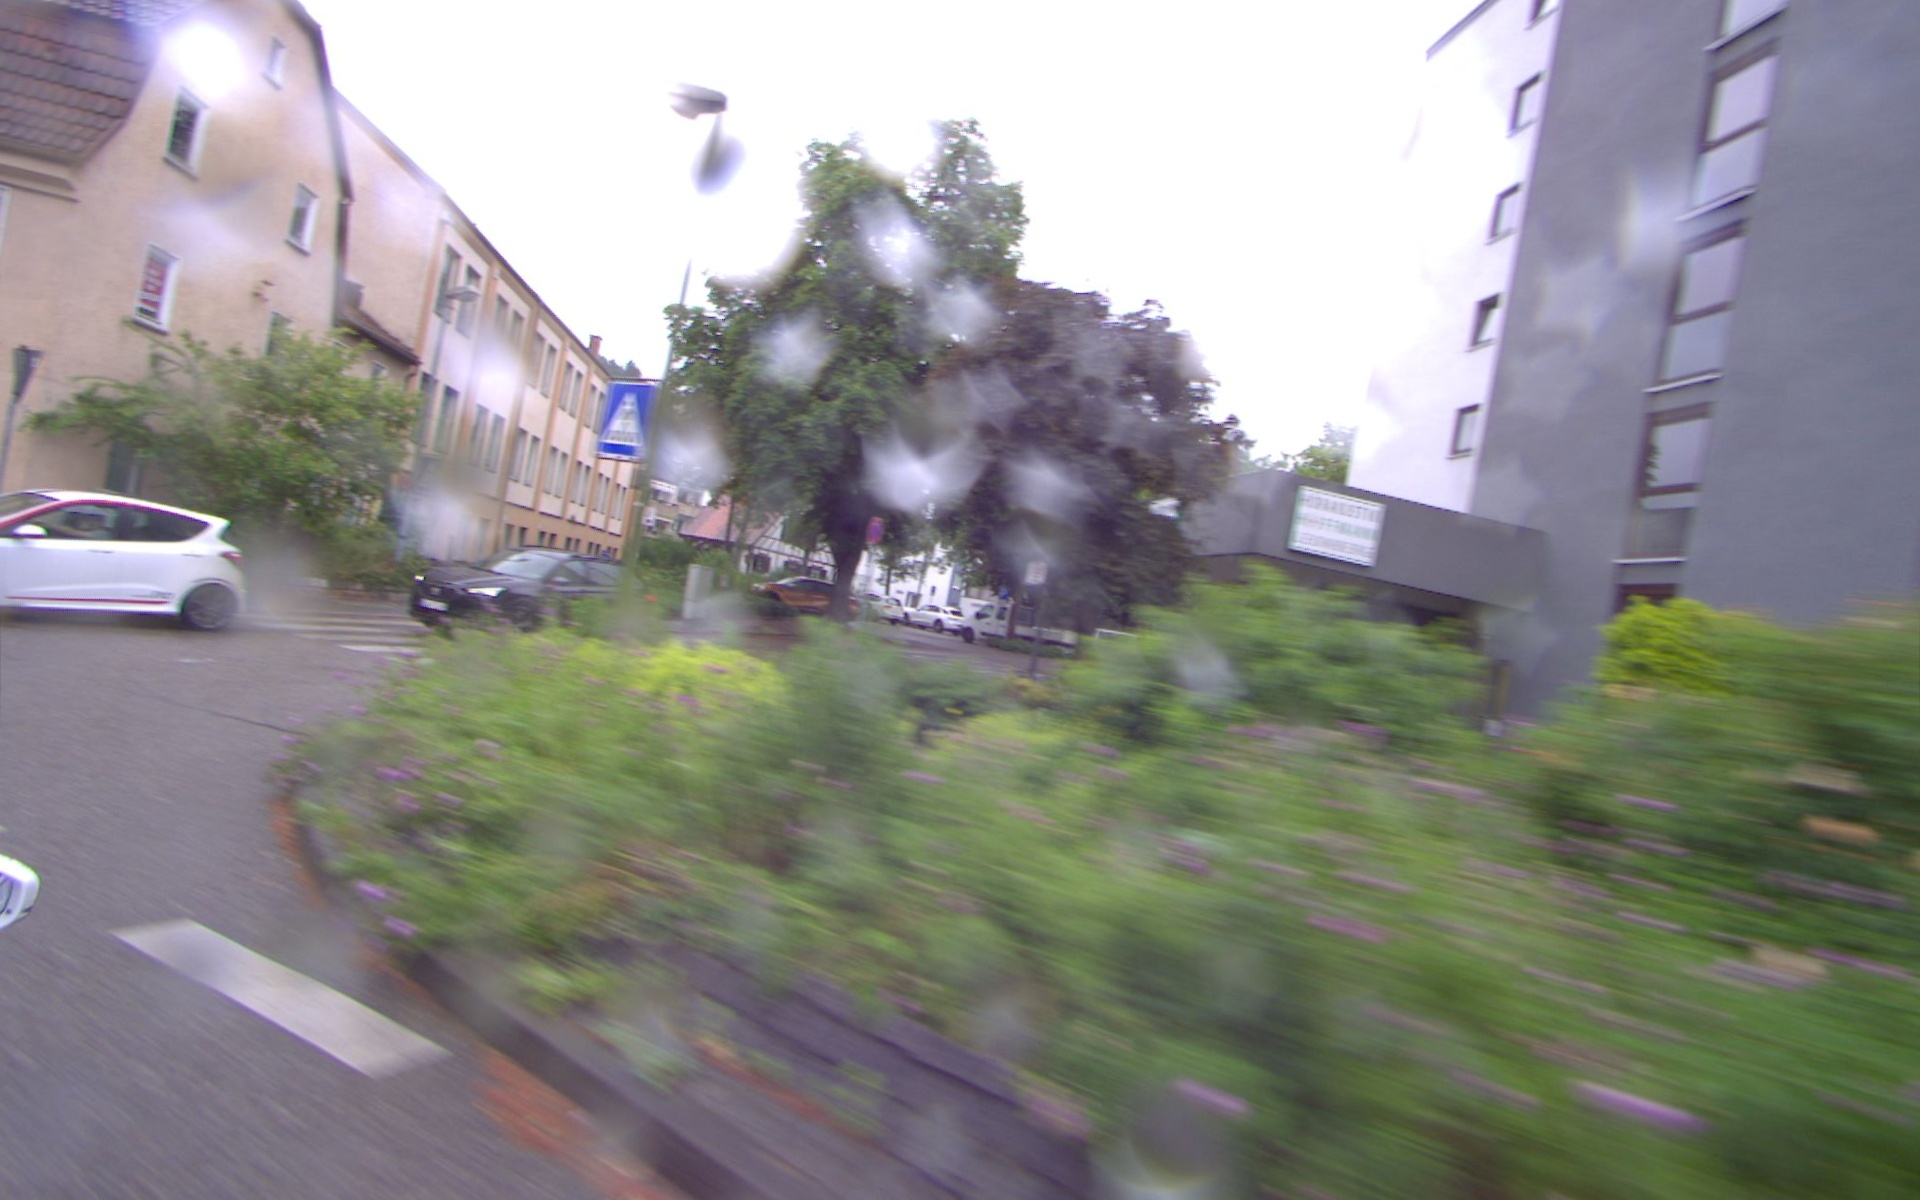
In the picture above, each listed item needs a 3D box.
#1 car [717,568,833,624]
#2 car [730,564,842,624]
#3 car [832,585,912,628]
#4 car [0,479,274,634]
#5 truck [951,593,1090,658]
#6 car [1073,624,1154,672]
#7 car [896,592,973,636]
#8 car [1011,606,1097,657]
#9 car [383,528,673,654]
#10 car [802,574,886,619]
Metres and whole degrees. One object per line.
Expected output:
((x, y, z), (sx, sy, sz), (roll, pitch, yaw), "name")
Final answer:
((-7.763, -0.170, 42.274), (4.365, 1.592, 1.708), (9, 0, -24), "car")
((-6.476, -0.219, 37.594), (3.841, 1.592, 1.715), (9, 0, -10), "car")
((-5.049, 0.357, 57.611), (3.980, 1.685, 1.809), (9, -2, 22), "car")
((-10.519, -0.557, 11.670), (1.682, 1.470, 3.760), (9, 0, 27), "car")
((2.905, 1.221, 49.774), (6.590, 2.303, 2.297), (8, 1, 40), "truck")
((8.412, 2.605, 55.196), (3.775, 1.855, 1.853), (10, -2, 37), "car")
((-1.567, 0.848, 61.264), (4.238, 1.896, 1.804), (8, -3, 37), "car")
((4.826, 1.618, 51.811), (3.775, 1.855, 1.853), (10, -2, 37), "car")
((-7.290, -0.065, 17.507), (1.689, 1.592, 4.416), (9, 0, 27), "car")
((-6.368, -0.208, 55.199), (3.980, 1.685, 1.809), (9, -2, 22), "car")
